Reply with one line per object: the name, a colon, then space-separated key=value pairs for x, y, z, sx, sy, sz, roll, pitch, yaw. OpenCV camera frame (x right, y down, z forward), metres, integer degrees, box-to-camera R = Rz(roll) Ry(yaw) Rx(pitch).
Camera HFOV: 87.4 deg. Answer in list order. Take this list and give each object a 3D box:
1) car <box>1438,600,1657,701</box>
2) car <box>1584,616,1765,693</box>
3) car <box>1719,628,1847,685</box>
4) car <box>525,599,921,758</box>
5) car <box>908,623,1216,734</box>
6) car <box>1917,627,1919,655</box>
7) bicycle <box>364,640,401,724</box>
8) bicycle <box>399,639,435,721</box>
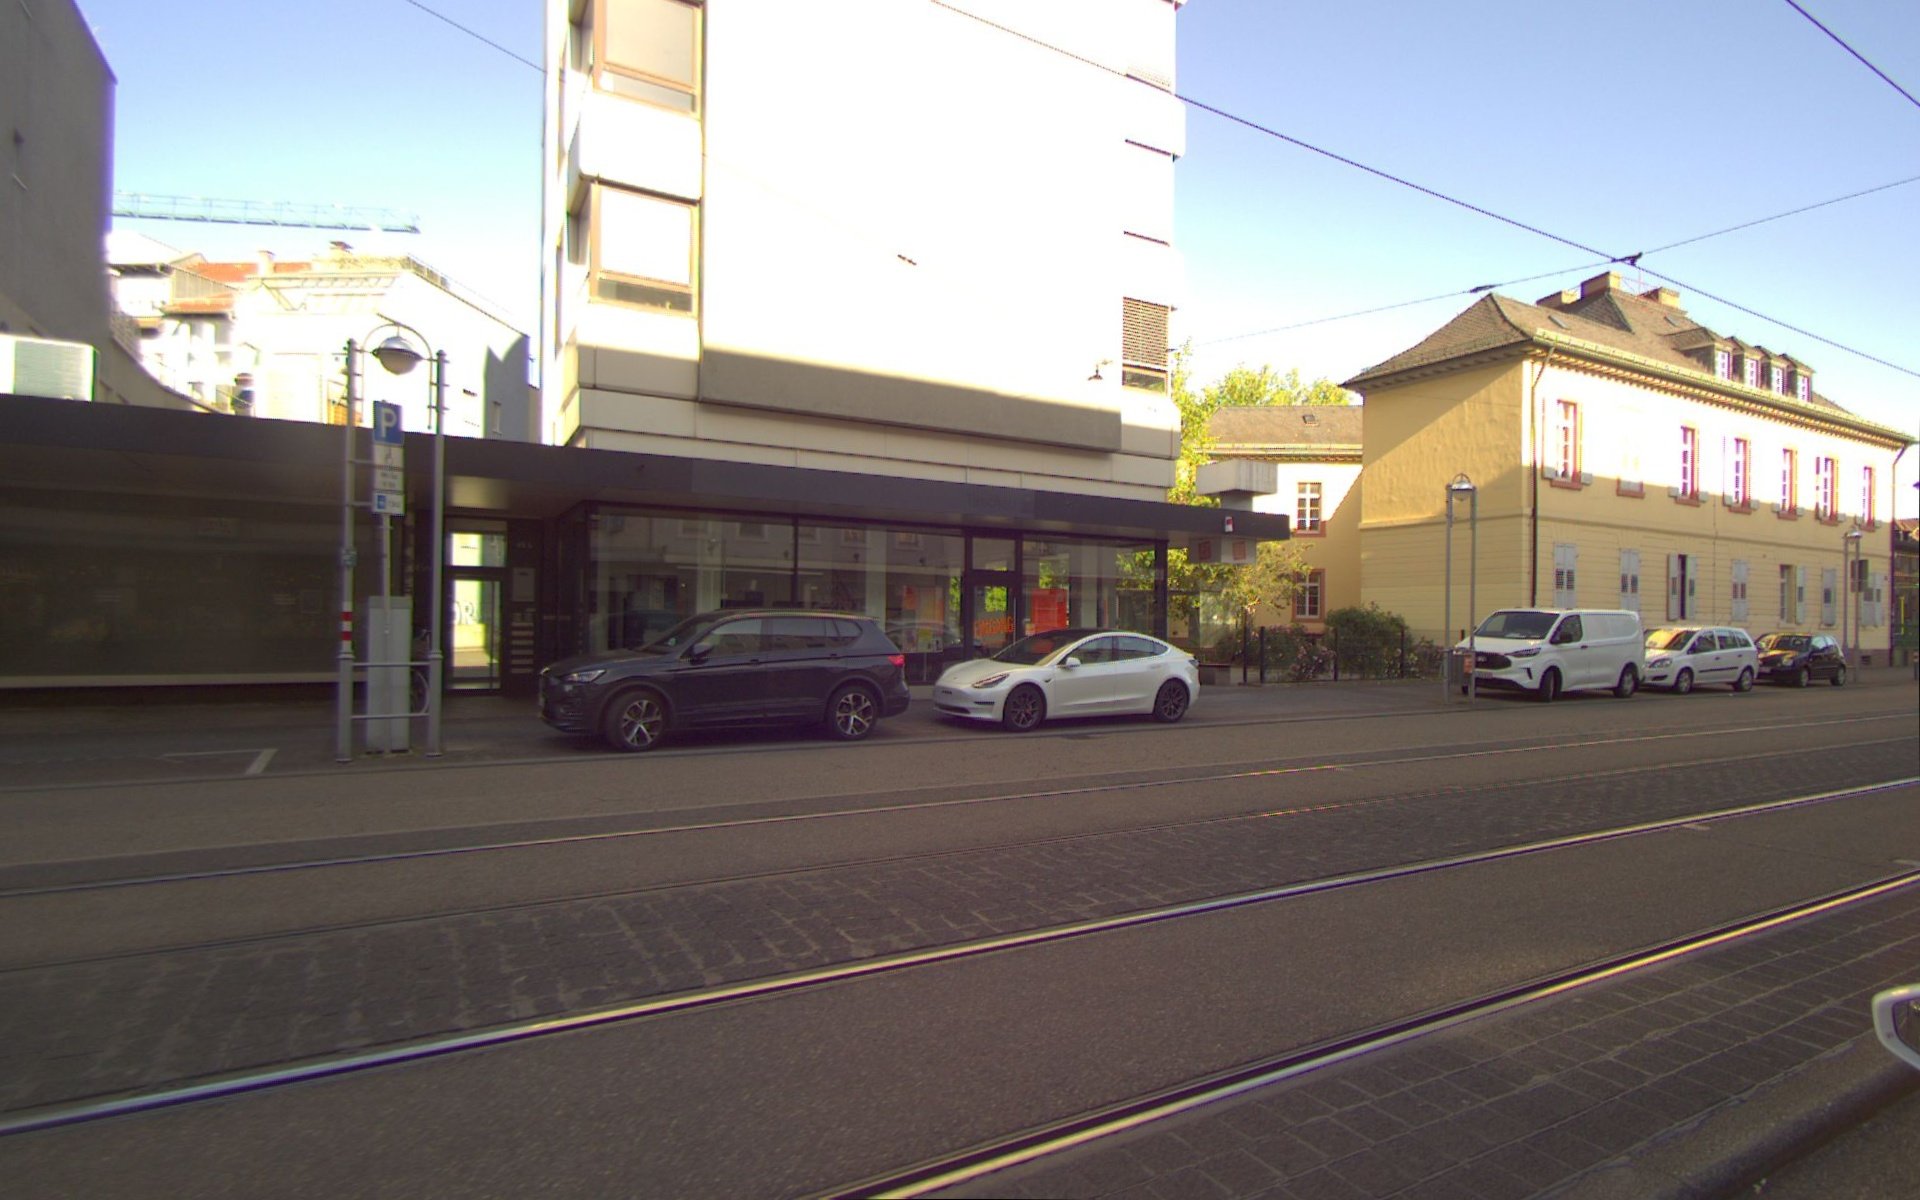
car: x=13.163 y=1.080 z=22.429 sx=5.038 sy=2.001 sz=1.983 roll=2 pitch=1 yaw=-31
car: x=17.990 y=1.342 z=25.245 sx=4.590 sy=1.708 sz=1.800 roll=2 pitch=1 yaw=-28
car: x=23.156 y=1.559 z=28.235 sx=3.677 sy=1.419 sz=1.606 roll=2 pitch=1 yaw=-31
car: x=-3.012 y=0.917 z=12.980 sx=4.600 sy=1.701 sz=1.969 roll=2 pitch=1 yaw=-30
car: x=1.662 y=1.157 z=15.790 sx=4.604 sy=1.440 sz=1.878 roll=2 pitch=1 yaw=-32
car: x=53.991 y=2.301 z=54.478 sx=3.951 sy=1.483 sz=1.895 roll=2 pitch=1 yaw=-29
bicycle: x=-8.252 y=1.139 z=14.390 sx=0.376 sy=1.012 sz=1.928 roll=1 pitch=1 yaw=-28
bicycle: x=-7.941 y=1.135 z=14.698 sx=0.418 sy=1.012 sz=1.928 roll=1 pitch=1 yaw=-28
